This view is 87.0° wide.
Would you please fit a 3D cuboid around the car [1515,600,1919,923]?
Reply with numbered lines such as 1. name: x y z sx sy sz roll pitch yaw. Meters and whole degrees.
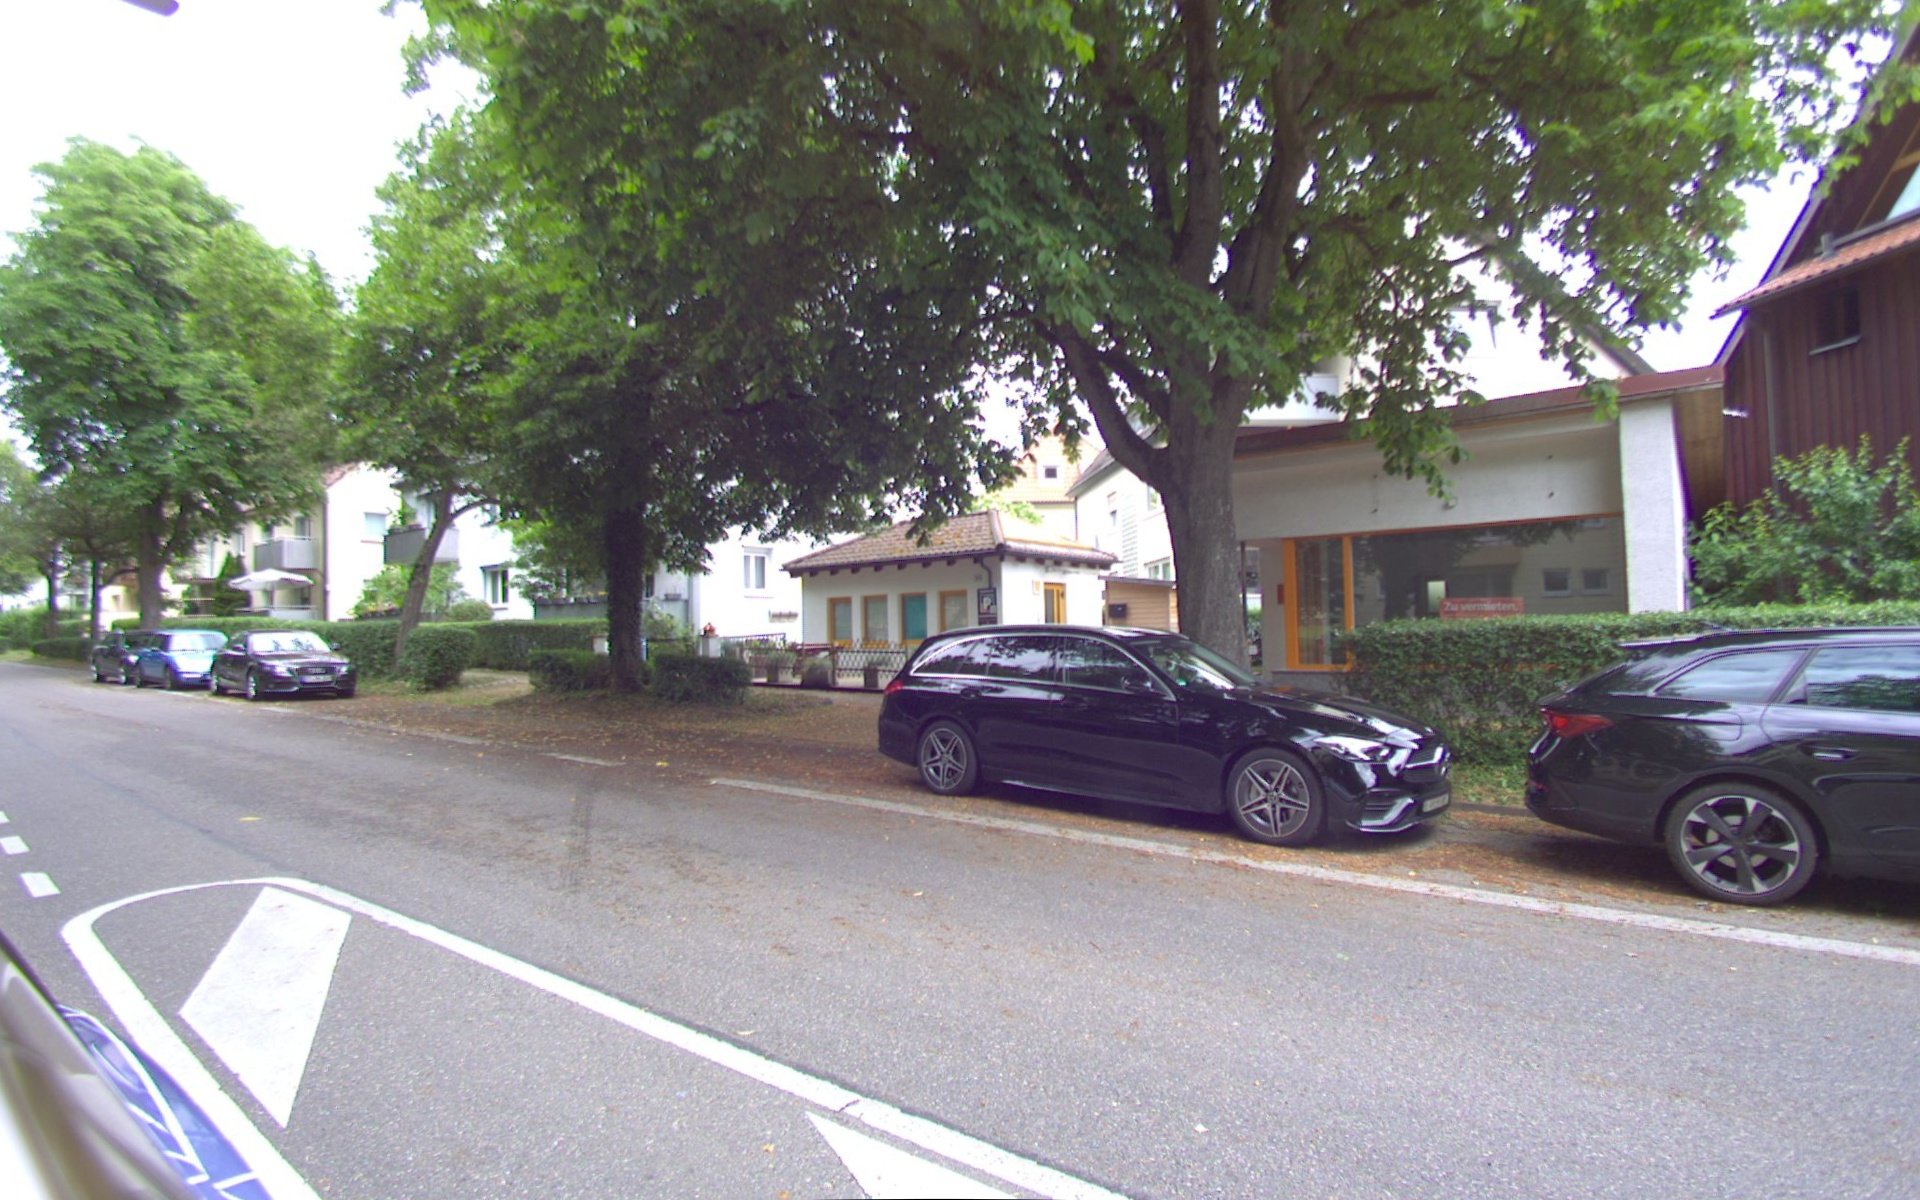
1. car: 5.447 0.757 4.988 4.536 1.497 1.674 -2 -3 38

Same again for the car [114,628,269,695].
1. car: -18.921 1.463 24.857 4.558 1.512 1.866 -2 -3 37

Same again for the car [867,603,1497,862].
1. car: 1.552 0.865 8.200 4.612 1.511 1.973 -2 -3 41

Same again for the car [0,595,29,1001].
1. car: -5.925 0.776 4.595 4.612 1.511 1.973 -2 -3 41

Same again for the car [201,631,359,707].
1. car: -14.227 1.377 21.091 4.169 1.414 1.713 -2 -3 41

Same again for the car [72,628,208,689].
1. car: -22.610 1.562 27.849 4.558 1.545 1.866 -2 -3 37
